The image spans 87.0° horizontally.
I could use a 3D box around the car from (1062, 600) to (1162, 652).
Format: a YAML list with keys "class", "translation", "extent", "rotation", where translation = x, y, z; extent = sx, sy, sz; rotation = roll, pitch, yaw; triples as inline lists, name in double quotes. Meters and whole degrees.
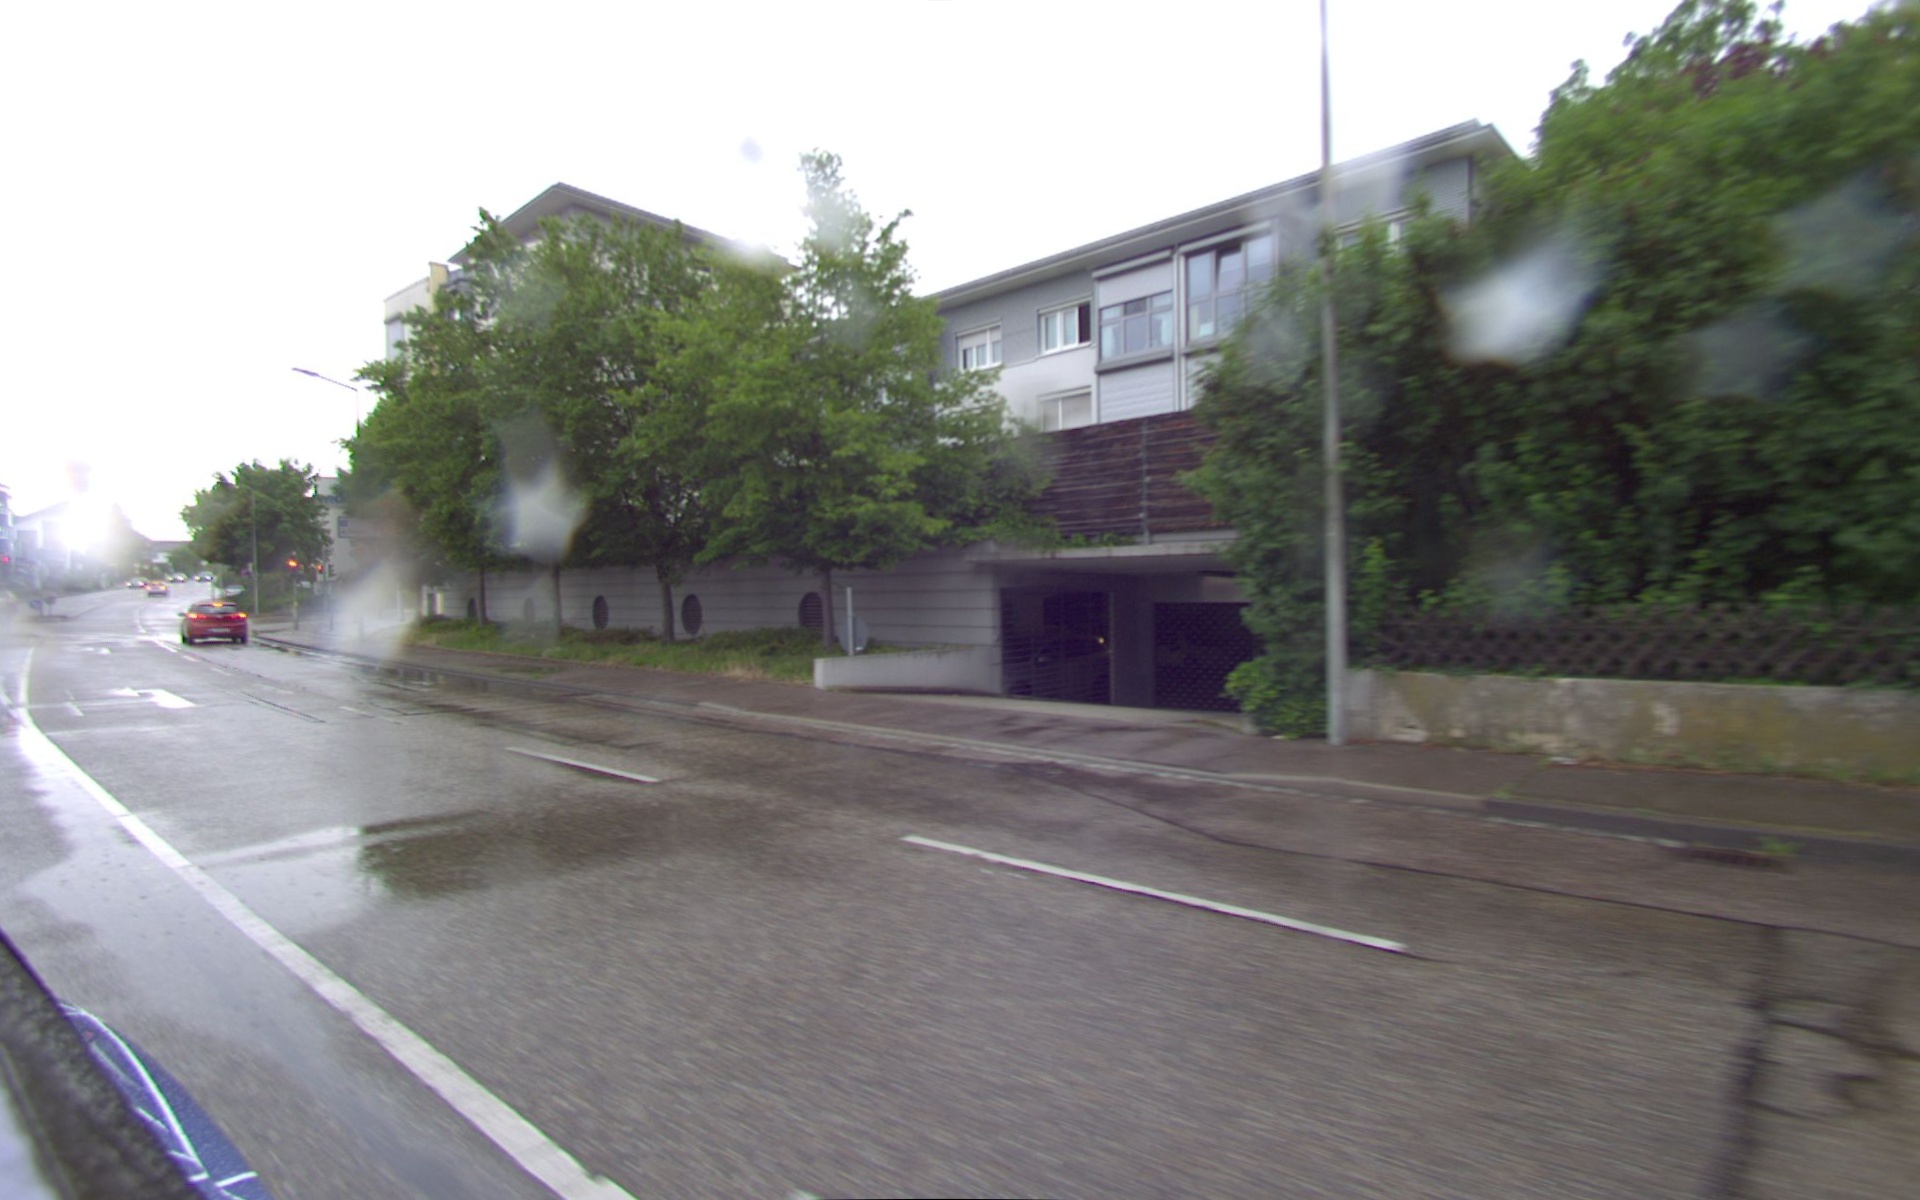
- class: "car"
  translation: [5.010, 0.821, 33.068]
  extent: [1.622, 1.600, 3.405]
  rotation: [-1, -1, 42]

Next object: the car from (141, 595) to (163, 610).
- class: "car"
  translation: [-91.349, 0.230, 114.496]
  extent: [1.666, 1.566, 3.917]
  rotation: [-3, 3, -35]

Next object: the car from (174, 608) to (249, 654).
- class: "car"
  translation: [-26.900, 1.096, 36.317]
  extent: [1.753, 1.518, 4.109]
  rotation: [2, -2, -42]

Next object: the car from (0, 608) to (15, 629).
- class: "car"
  translation: [-74.783, 1.442, 78.277]
  extent: [1.869, 1.556, 4.030]
  rotation: [-2, 1, -36]

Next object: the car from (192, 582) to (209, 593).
- class: "car"
  translation: [-121.060, -2.051, 161.317]
  extent: [1.799, 1.700, 4.011]
  rotation: [0, 0, -32]

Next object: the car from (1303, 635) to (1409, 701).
- class: "car"
  translation: [10.901, 1.814, 27.761]
  extent: [1.622, 1.600, 3.311]
  rotation: [-1, -1, 42]

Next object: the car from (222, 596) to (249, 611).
- class: "car"
  translation: [-76.590, 0.380, 107.055]
  extent: [1.708, 1.489, 4.034]
  rotation: [-2, 1, -28]

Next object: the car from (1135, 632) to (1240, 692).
- class: "car"
  translation: [6.941, 1.825, 30.703]
  extent: [1.622, 1.600, 3.405]
  rotation: [-1, -1, 42]

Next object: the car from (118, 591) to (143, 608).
- class: "car"
  translation: [-110.415, -0.107, 134.797]
  extent: [1.967, 2.028, 4.011]
  rotation: [-6, 4, -33]
